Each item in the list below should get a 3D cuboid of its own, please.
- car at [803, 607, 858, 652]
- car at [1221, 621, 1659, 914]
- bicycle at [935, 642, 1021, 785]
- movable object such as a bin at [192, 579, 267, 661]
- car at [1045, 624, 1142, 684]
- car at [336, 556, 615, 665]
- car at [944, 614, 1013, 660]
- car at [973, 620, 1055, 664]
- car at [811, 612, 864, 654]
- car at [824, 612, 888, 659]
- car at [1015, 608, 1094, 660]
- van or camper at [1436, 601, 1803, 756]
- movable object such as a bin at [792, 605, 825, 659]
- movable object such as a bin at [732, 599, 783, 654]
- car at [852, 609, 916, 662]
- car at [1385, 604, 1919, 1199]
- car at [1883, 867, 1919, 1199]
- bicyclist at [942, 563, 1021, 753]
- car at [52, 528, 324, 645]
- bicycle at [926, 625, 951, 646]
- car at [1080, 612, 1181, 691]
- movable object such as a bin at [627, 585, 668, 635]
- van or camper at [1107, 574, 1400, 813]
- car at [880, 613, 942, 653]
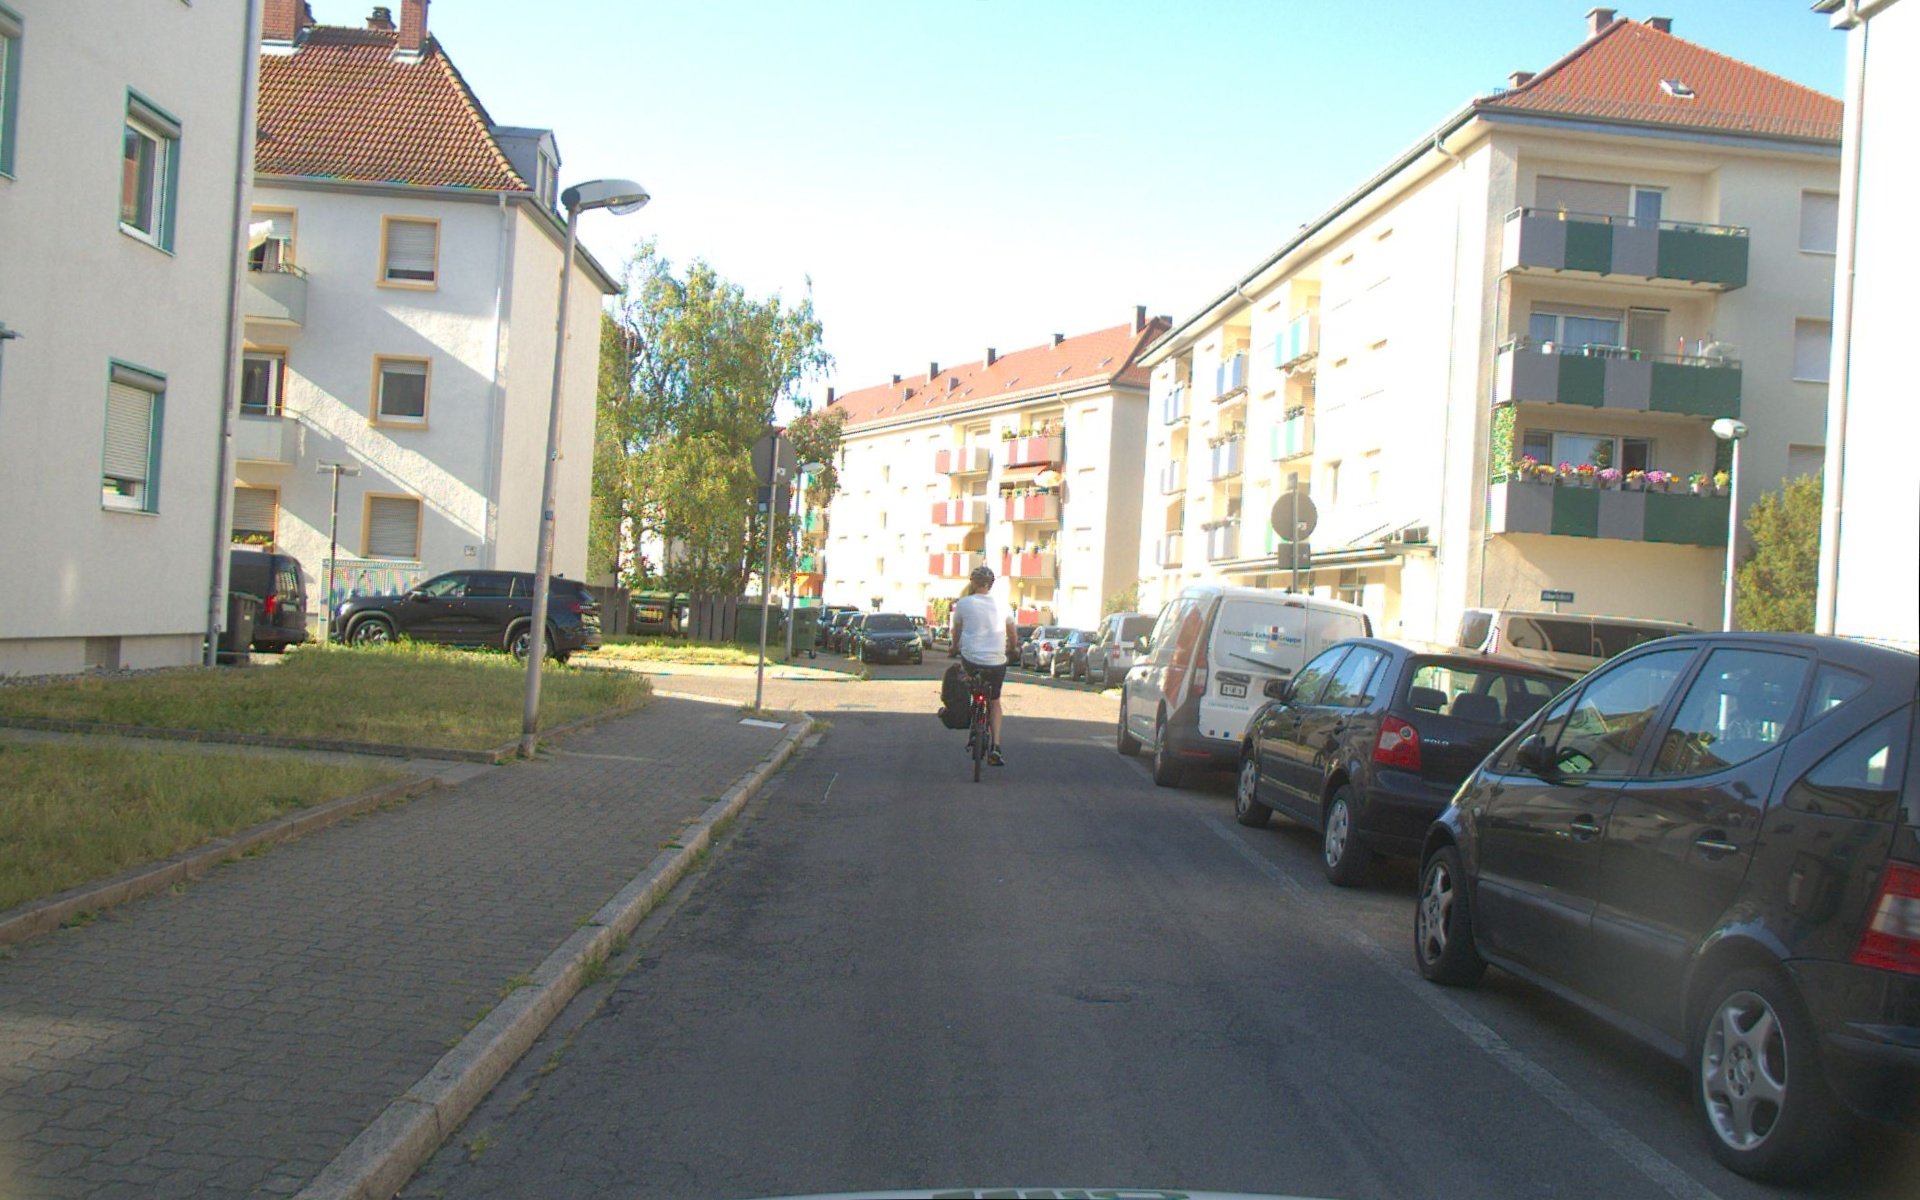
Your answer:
[{"bbox_3d":[-5.171,1.153,65.741,1.528,1.744,4.322,1,-1,-13],"label":"car"},{"bbox_3d":[2.945,0.946,10.975,1.542,1.442,3.786,5,0,-3],"label":"car"},{"bbox_3d":[0.180,0.954,14.502,0.614,1.135,1.817,1,-1,5],"label":"bicycle"},{"bbox_3d":[-9.469,0.256,21.466,0.600,1.009,0.714,4,-1,-3],"label":"movable object such as a bin"},{"bbox_3d":[3.728,1.491,46.919,1.647,1.431,4.536,3,0,-9],"label":"car"},{"bbox_3d":[-8.592,0.214,29.605,4.398,1.693,1.718,3,-2,-2],"label":"car"},{"bbox_3d":[0.694,1.473,65.556,1.665,1.685,4.374,2,-2,-14],"label":"car"},{"bbox_3d":[1.873,1.460,58.912,1.665,1.457,4.669,2,-1,-14],"label":"car"},{"bbox_3d":[-4.465,1.170,59.749,1.527,1.468,3.958,1,-1,-10],"label":"car"},{"bbox_3d":[-3.442,1.148,54.248,1.647,1.468,4.270,1,-1,-10],"label":"car"},{"bbox_3d":[2.974,1.053,53.007,1.646,1.472,4.716,3,0,-7],"label":"car"},{"bbox_3d":[10.537,1.223,26.681,5.020,2.048,2.000,4,1,-1],"label":"van or camper"},{"bbox_3d":[-4.123,0.861,45.002,0.760,1.417,1.416,3,-1,-3],"label":"movable object such as a bin"},{"bbox_3d":[-5.533,0.718,45.240,1.195,1.404,0.767,4,-1,1],"label":"movable object such as a bin"},{"bbox_3d":[-2.302,1.036,49.217,1.646,1.478,4.614,1,-1,-6],"label":"car"},{"bbox_3d":[2.998,0.900,5.933,1.587,1.577,3.607,7,-1,-5],"label":"car"},{"bbox_3d":[2.865,0.928,1.470,1.597,1.474,3.948,7,0,-5],"label":"car"},{"bbox_3d":[0.197,0.500,14.579,0.583,1.606,0.907,2,-1,5],"label":"bicyclist"},{"bbox_3d":[-13.653,-0.214,29.416,3.910,1.820,1.718,3,-2,-2],"label":"car"},{"bbox_3d":[-1.138,1.851,87.188,0.609,0.995,1.883,1,2,-23],"label":"bicycle"},{"bbox_3d":[4.200,1.249,41.356,1.713,1.856,4.126,1,-1,-6],"label":"car"},{"bbox_3d":[-9.502,0.303,50.322,1.039,1.460,1.002,2,-1,-4],"label":"movable object such as a bin"},{"bbox_3d":[2.644,0.794,16.067,1.757,1.777,4.733,7,-1,-1],"label":"van or camper"},{"bbox_3d":[-2.341,1.524,77.884,1.740,1.664,4.018,2,1,-20],"label":"car"}]
